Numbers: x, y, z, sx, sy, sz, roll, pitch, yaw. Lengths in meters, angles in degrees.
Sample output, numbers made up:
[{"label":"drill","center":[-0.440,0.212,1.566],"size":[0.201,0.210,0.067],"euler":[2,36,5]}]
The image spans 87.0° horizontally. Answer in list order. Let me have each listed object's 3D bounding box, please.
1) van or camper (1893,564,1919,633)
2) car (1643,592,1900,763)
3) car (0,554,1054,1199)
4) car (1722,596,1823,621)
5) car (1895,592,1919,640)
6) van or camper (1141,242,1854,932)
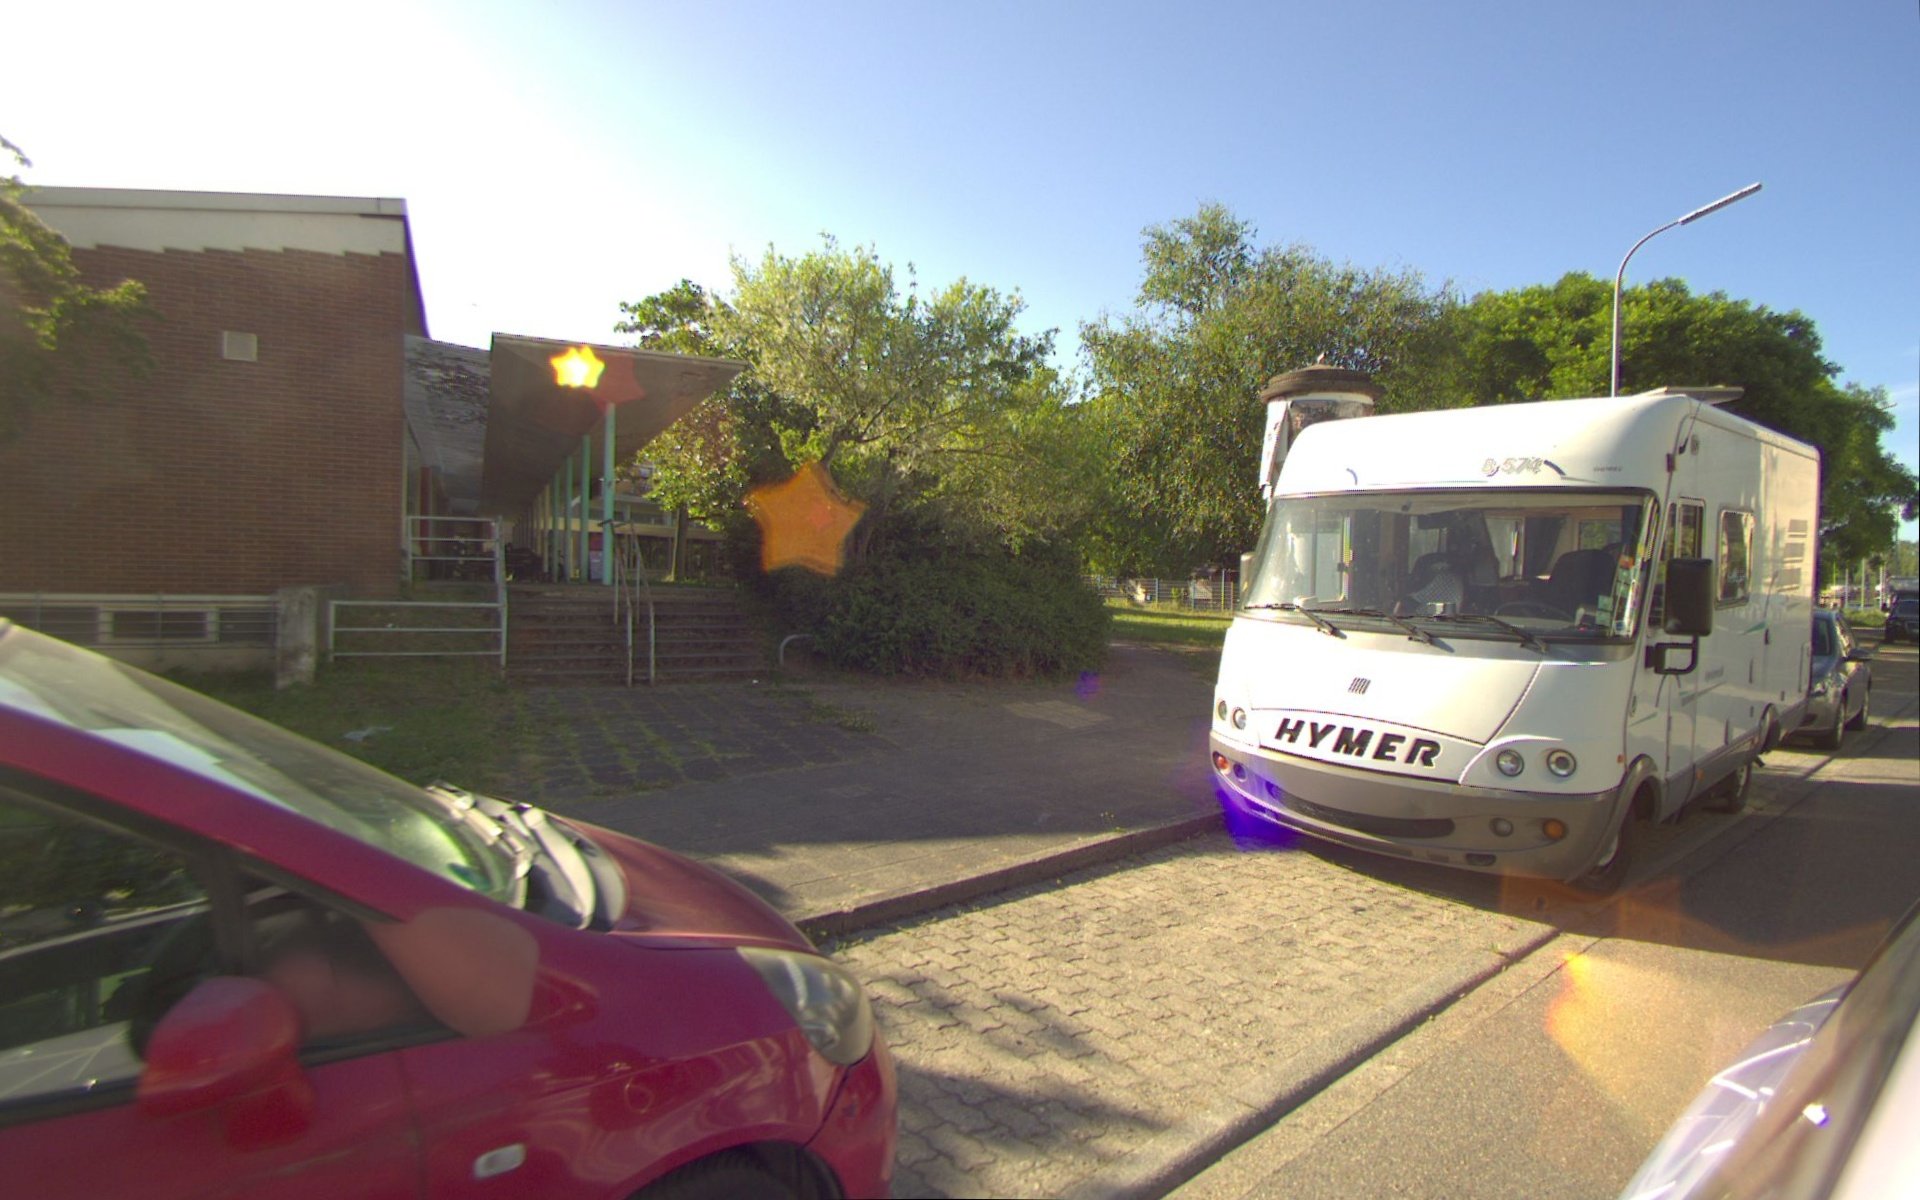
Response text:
[{"label":"van or camper","center":[40.072,-0.012,41.469],"size":[2.354,2.627,6.322],"euler":[6,4,44]},{"label":"car","center":[9.728,0.753,11.994],"size":[4.354,1.542,1.723],"euler":[0,4,-44]},{"label":"car","center":[-1.845,0.673,1.397],"size":[3.931,1.492,1.694],"euler":[0,2,-41]},{"label":"car","center":[47.690,0.508,59.477],"size":[1.715,1.354,4.432],"euler":[2,-1,-42]},{"label":"car","center":[35.356,0.589,36.727],"size":[1.994,1.660,4.466],"euler":[4,3,43]},{"label":"van or camper","center":[4.429,-0.087,7.447],"size":[6.735,2.880,2.500],"euler":[0,2,-43]}]
